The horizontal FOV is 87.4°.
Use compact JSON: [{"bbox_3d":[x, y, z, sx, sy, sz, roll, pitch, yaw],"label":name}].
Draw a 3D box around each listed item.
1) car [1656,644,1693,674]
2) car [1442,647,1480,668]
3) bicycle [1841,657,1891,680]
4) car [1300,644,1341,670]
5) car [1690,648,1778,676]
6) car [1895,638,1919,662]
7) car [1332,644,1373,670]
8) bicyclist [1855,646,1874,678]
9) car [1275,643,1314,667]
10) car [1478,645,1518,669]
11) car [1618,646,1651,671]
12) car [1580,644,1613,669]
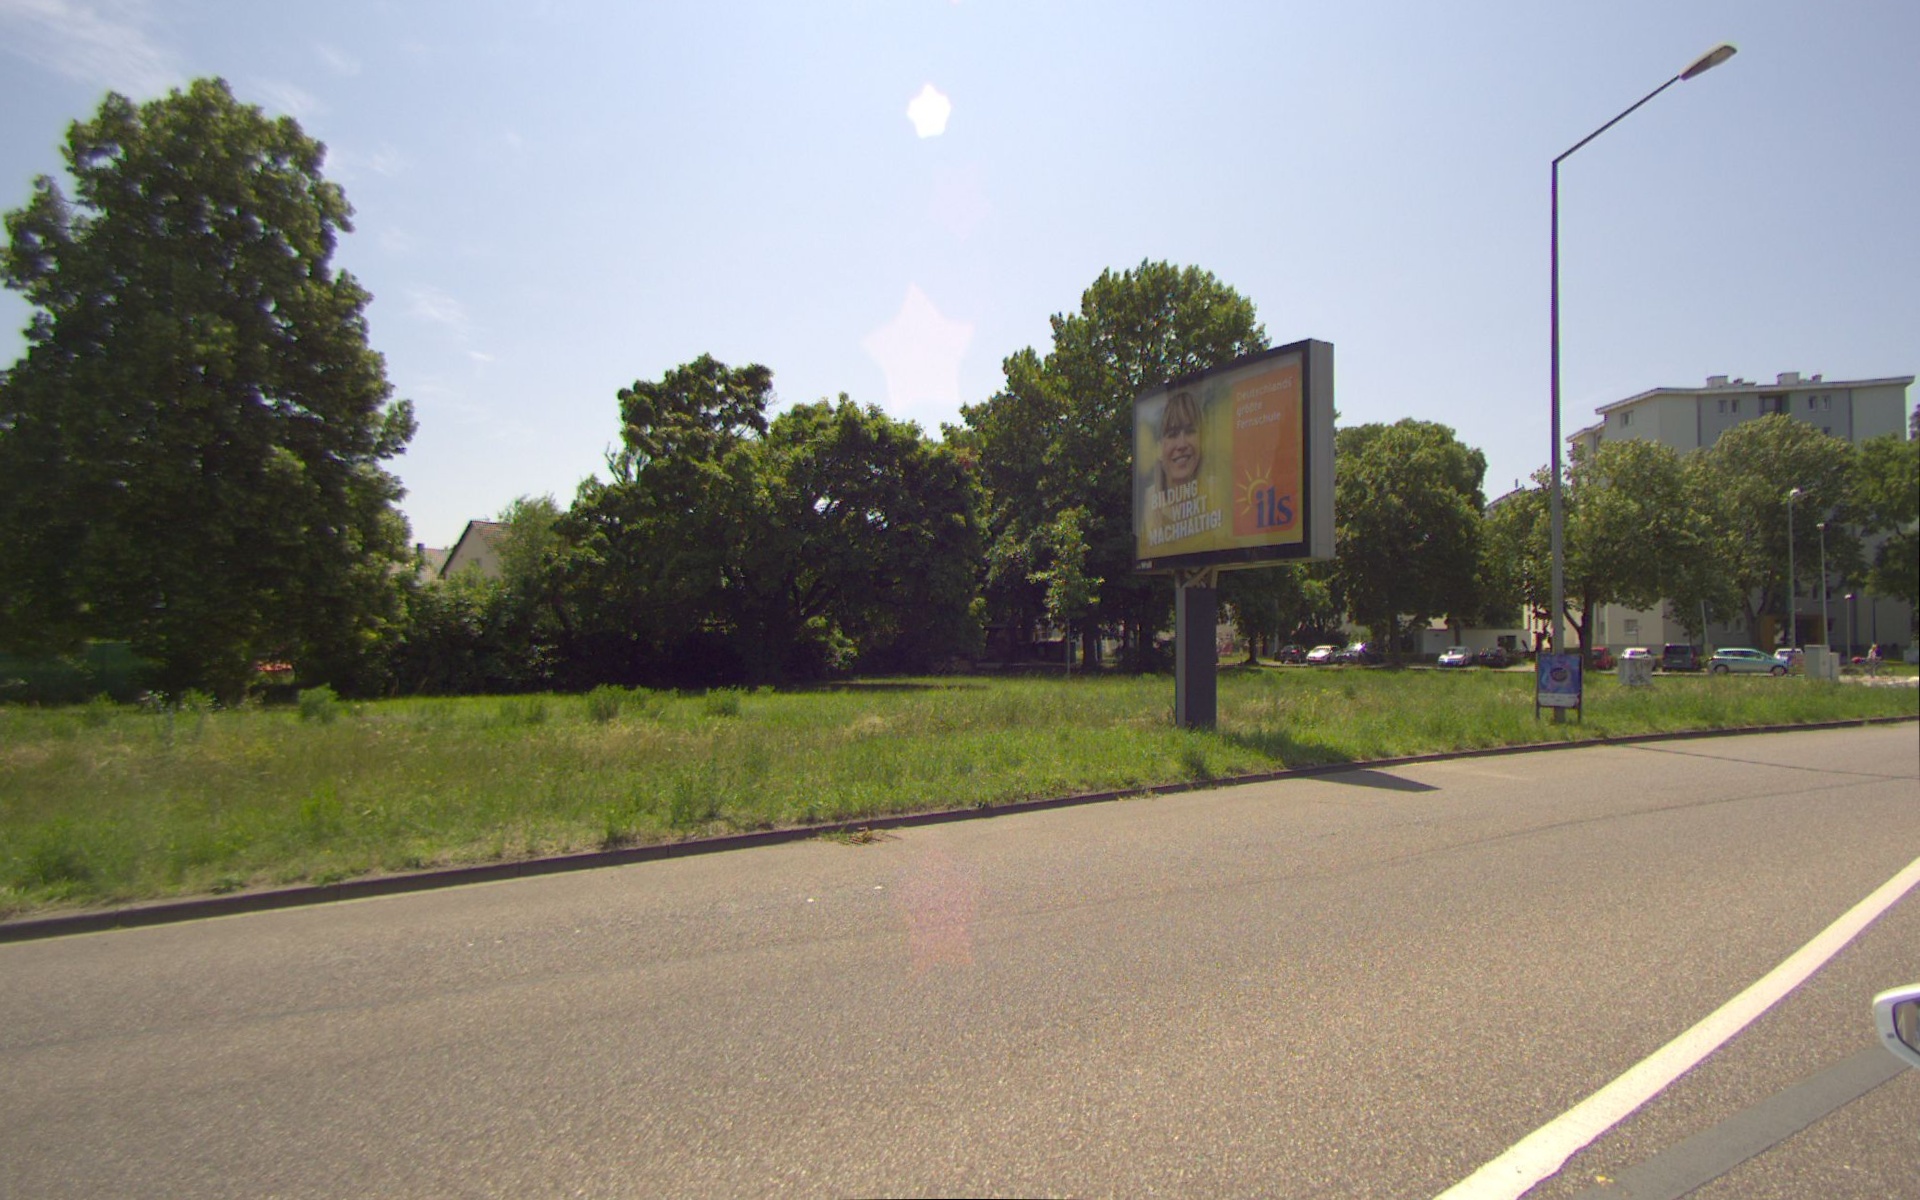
[{"bbox_3d":[47.116,3.863,66.220,1.684,1.824,3.981,0,-2,40],"label":"car"},{"bbox_3d":[37.576,4.294,75.287,1.669,1.583,3.819,-2,-3,41],"label":"car"},{"bbox_3d":[45.850,3.457,50.857,1.842,1.108,0.643,-1,-3,41],"label":"bicycle"},{"bbox_3d":[29.370,4.630,81.822,1.825,1.973,3.981,0,-2,40],"label":"car"},{"bbox_3d":[43.281,3.433,56.239,3.838,1.488,1.768,-2,-3,39],"label":"car"},{"bbox_3d":[73.416,3.765,75.338,4.457,1.791,1.793,0,-2,13],"label":"car"},{"bbox_3d":[31.203,4.519,79.860,1.825,1.973,3.981,0,-2,40],"label":"car"},{"bbox_3d":[45.835,3.132,50.902,0.656,1.557,0.628,-1,-3,41],"label":"bicyclist"},{"bbox_3d":[28.149,4.596,84.494,1.825,1.973,3.981,0,-2,40],"label":"car"},{"bbox_3d":[39.680,4.175,74.036,1.825,1.733,3.981,0,-2,40],"label":"car"},{"bbox_3d":[45.603,3.940,67.884,1.682,1.613,3.986,0,-2,36],"label":"car"},{"bbox_3d":[44.215,3.934,69.779,1.820,1.690,3.990,-1,-3,33],"label":"car"}]
